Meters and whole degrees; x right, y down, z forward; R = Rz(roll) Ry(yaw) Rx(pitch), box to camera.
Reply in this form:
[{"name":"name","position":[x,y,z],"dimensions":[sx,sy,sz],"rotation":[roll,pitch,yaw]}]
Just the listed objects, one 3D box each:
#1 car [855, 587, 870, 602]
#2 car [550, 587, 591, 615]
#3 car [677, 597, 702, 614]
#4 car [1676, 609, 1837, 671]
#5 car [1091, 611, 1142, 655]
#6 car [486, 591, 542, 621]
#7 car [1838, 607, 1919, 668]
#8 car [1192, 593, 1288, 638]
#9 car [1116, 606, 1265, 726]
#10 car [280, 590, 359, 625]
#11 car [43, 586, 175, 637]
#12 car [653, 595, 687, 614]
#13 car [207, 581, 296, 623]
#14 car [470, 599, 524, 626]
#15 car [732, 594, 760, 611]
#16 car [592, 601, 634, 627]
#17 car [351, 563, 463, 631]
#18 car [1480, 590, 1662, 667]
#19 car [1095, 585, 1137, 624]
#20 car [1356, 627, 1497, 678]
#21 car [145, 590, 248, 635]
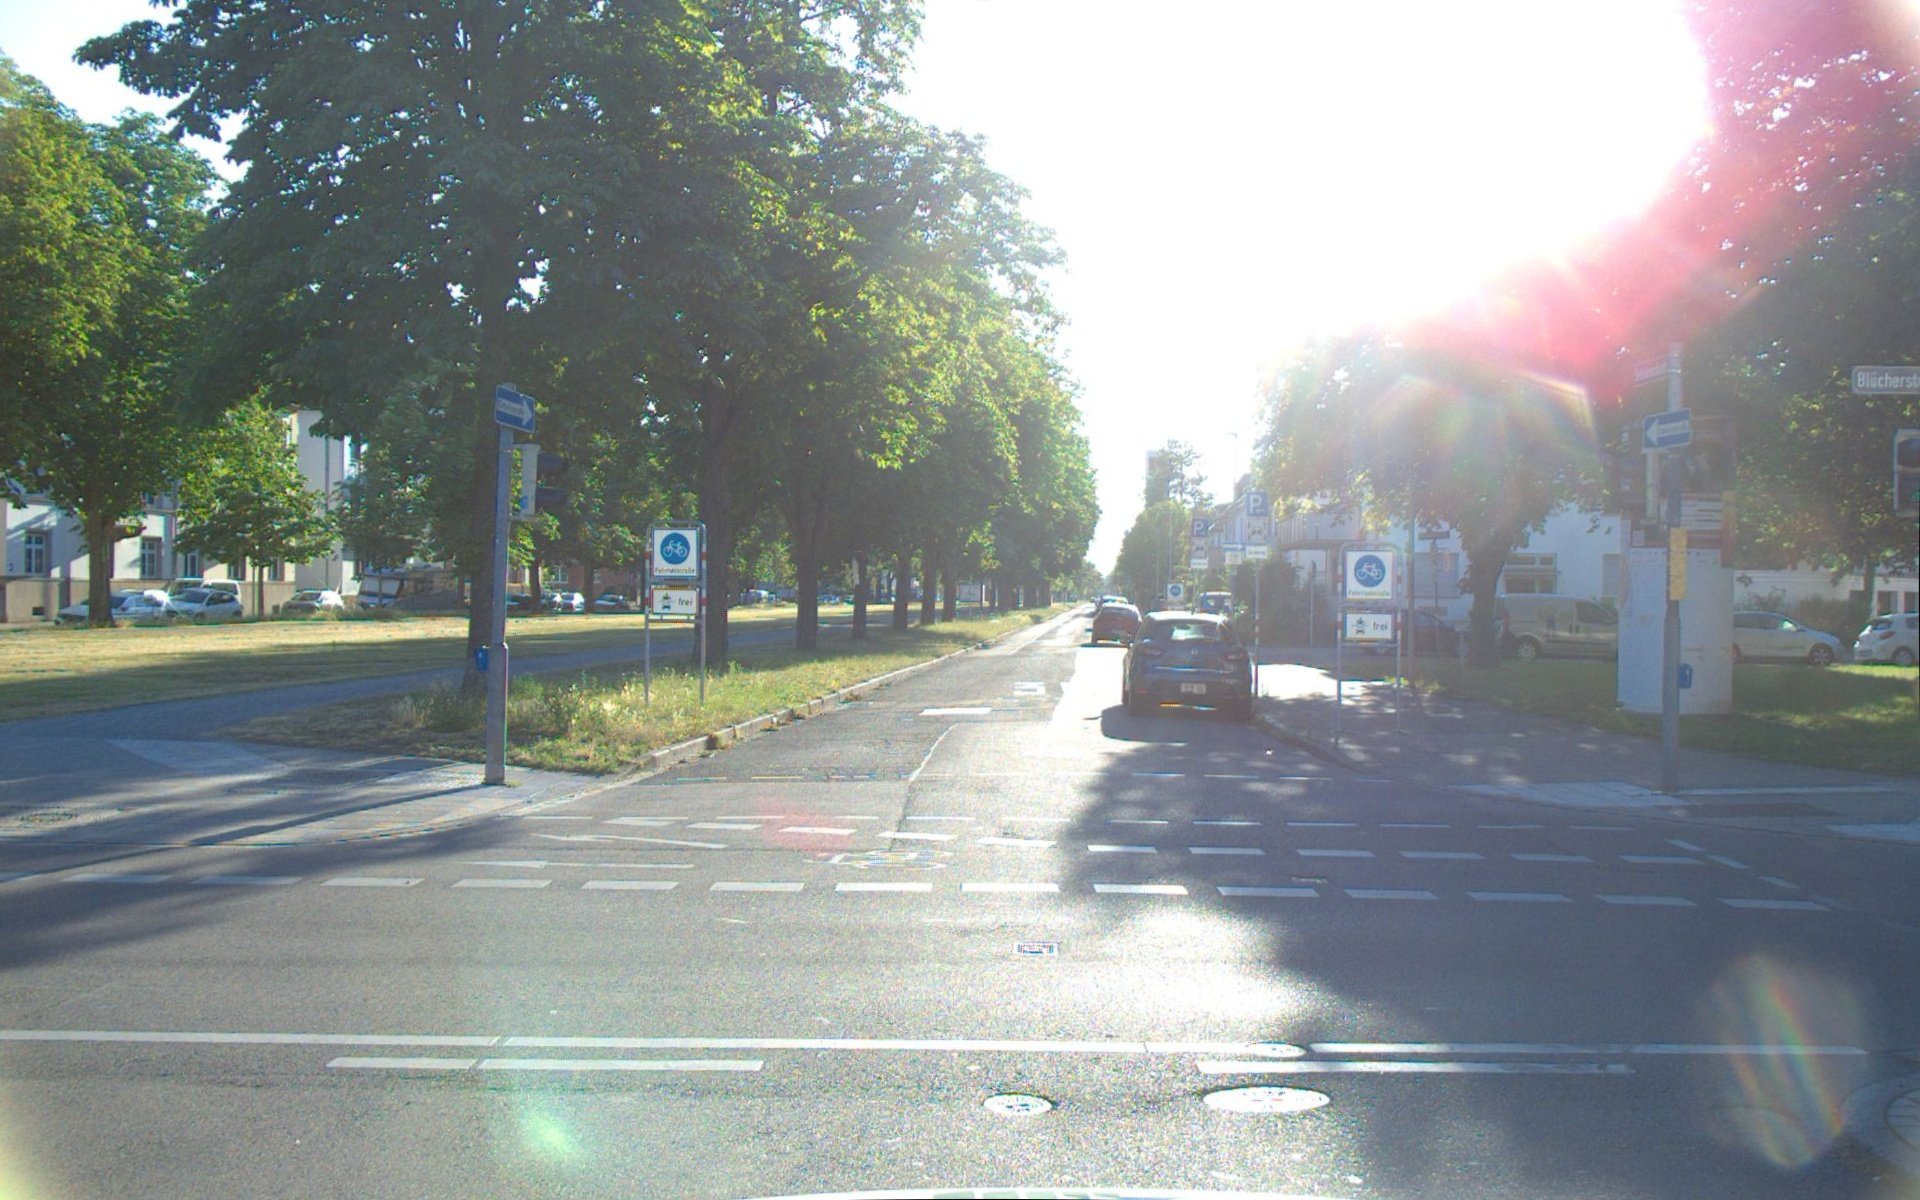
[{"name":"car","position":[-14.007,-0.818,237.430],"dimensions":[1.619,1.972,3.569],"rotation":[3,-1,4]},{"name":"car","position":[-30.159,0.090,128.213],"dimensions":[1.952,2.049,4.001],"rotation":[3,0,3]},{"name":"car","position":[-27.001,0.563,165.050],"dimensions":[1.605,1.671,3.856],"rotation":[3,0,3]},{"name":"car","position":[20.865,1.043,43.406],"dimensions":[3.481,1.542,1.605],"rotation":[1,0,-1]},{"name":"car","position":[5.460,1.130,57.862],"dimensions":[1.674,1.383,4.205],"rotation":[3,0,5]},{"name":"car","position":[-27.092,0.395,100.553],"dimensions":[1.840,1.703,4.318],"rotation":[3,0,5]},{"name":"car","position":[25.412,1.026,43.507],"dimensions":[3.841,1.550,1.523],"rotation":[2,-1,0]},{"name":"car","position":[12.260,0.692,72.569],"dimensions":[3.905,1.854,1.759],"rotation":[0,-5,1]},{"name":"car","position":[3.321,0.903,24.569],"dimensions":[1.690,1.537,4.542],"rotation":[3,0,2]},{"name":"car","position":[-33.749,0.397,87.297],"dimensions":[1.951,1.688,4.573],"rotation":[3,0,6]},{"name":"car","position":[-30.674,0.413,59.803],"dimensions":[1.951,1.688,4.573],"rotation":[3,0,6]},{"name":"car","position":[-27.602,0.449,157.505],"dimensions":[1.951,1.688,4.358],"rotation":[3,0,6]},{"name":"car","position":[-34.498,0.085,80.675],"dimensions":[1.952,1.984,4.880],"rotation":[1,0,3]},{"name":"car","position":[-31.100,0.871,111.175],"dimensions":[1.951,1.688,4.377],"rotation":[3,0,6]},{"name":"car","position":[-22.138,0.236,171.136],"dimensions":[1.951,1.688,4.573],"rotation":[1,0,4]},{"name":"car","position":[-25.302,1.012,120.869],"dimensions":[1.773,1.812,4.125],"rotation":[3,0,6]},{"name":"car","position":[-28.350,-0.183,85.153],"dimensions":[2.342,3.185,7.858],"rotation":[3,1,5]},{"name":"car","position":[16.299,0.750,44.265],"dimensions":[4.152,1.908,2.032],"rotation":[1,0,5]},{"name":"car","position":[7.862,0.194,83.644],"dimensions":[1.952,1.812,4.002],"rotation":[3,1,4]},{"name":"car","position":[14.274,1.591,50.737],"dimensions":[3.903,1.472,1.717],"rotation":[1,-1,4]},{"name":"car","position":[-30.151,0.476,65.434],"dimensions":[1.758,1.581,4.421],"rotation":[3,1,3]}]
